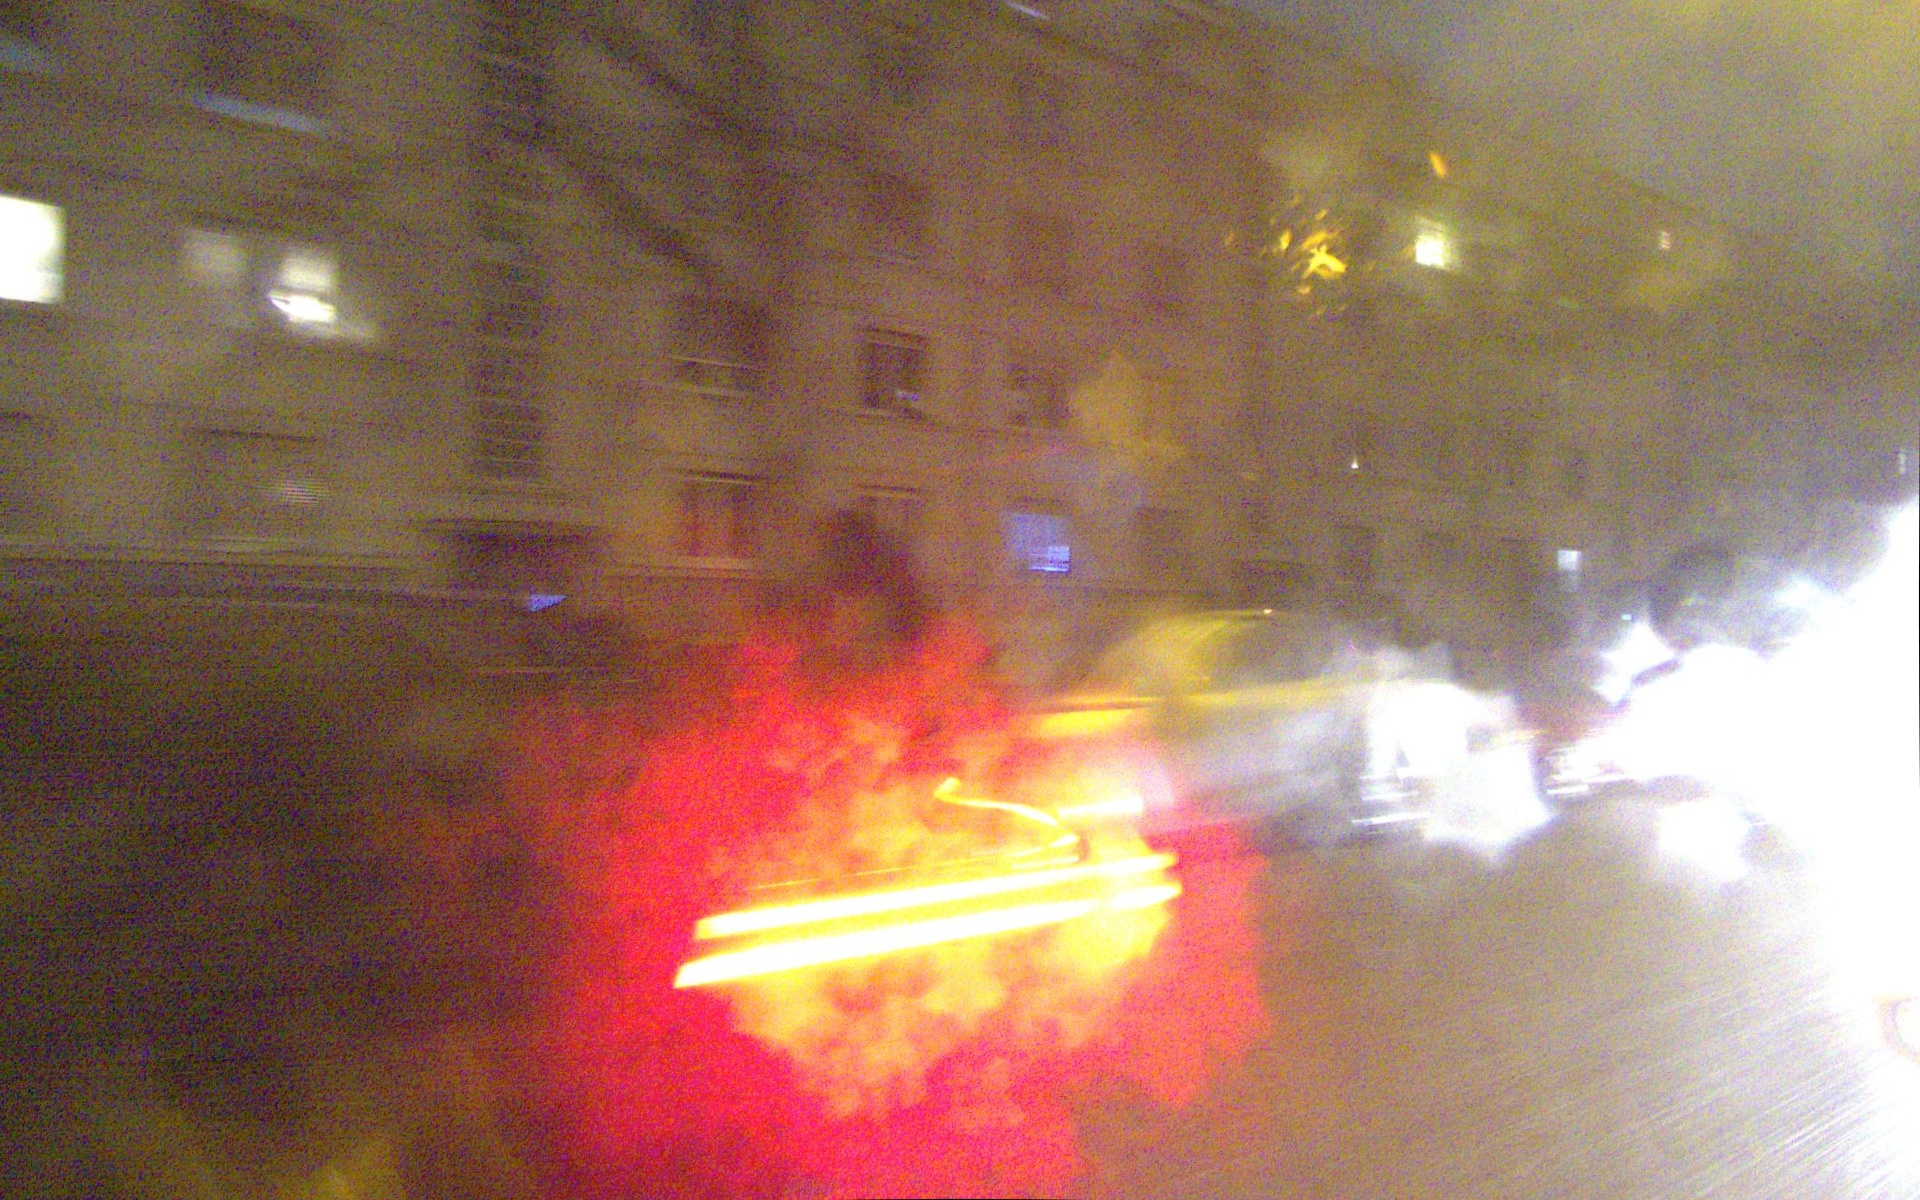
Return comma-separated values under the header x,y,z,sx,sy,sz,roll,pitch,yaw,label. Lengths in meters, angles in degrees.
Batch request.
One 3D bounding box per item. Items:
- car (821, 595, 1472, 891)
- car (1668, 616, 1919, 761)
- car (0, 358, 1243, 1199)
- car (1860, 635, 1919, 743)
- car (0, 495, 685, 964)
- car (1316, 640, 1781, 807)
x,y,z,sx,sy,sz,roll,pitch,yaw,label
1.395,0.779,6.962,4.344,1.492,1.787,1,-2,-30,car
10.850,1.006,12.559,4.009,1.560,1.699,1,-2,-29,car
-1.997,0.559,1.546,4.625,1.568,2.031,1,-2,-29,car
14.956,1.225,14.429,4.619,1.437,1.612,1,-2,-29,car
-3.365,0.464,4.319,3.920,1.594,1.614,1,-2,-33,car
5.823,1.052,9.842,4.579,1.285,1.831,1,-2,-28,car
